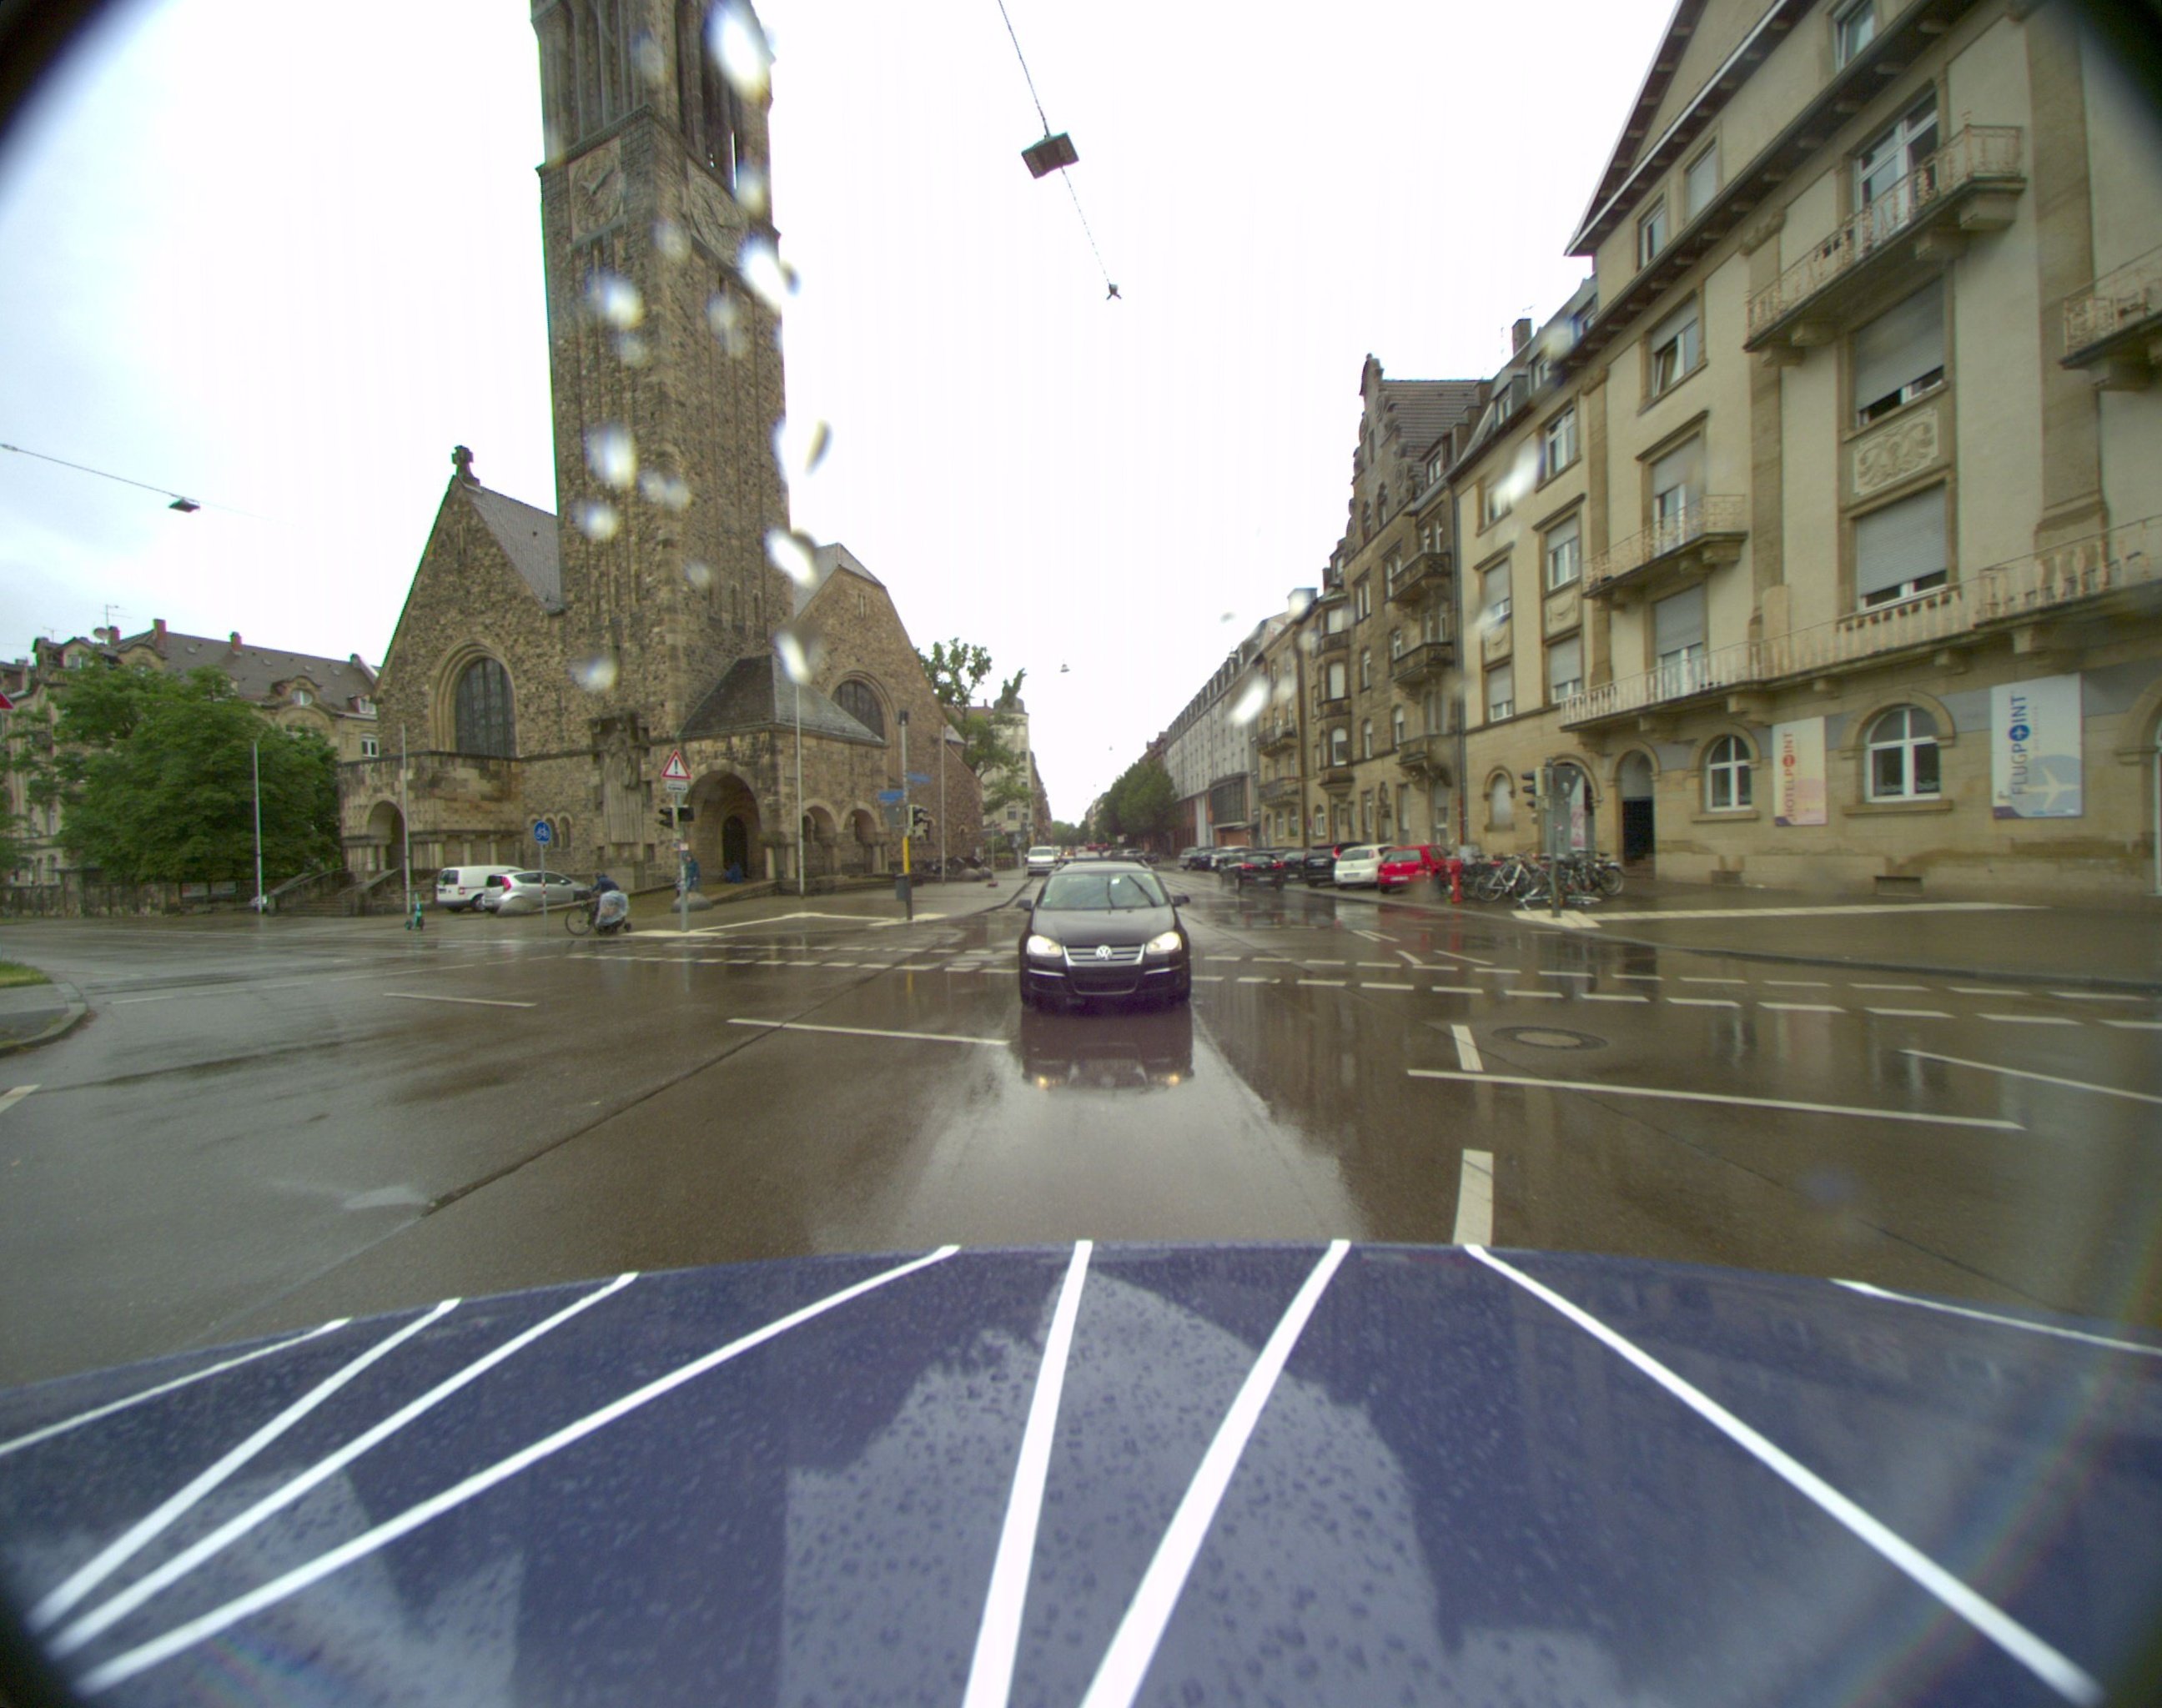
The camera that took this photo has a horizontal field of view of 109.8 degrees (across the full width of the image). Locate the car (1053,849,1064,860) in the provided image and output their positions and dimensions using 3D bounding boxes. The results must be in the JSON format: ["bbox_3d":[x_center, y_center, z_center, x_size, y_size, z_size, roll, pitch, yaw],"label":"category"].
[{"bbox_3d":[-2.855,0.059,98.344,1.356,1.285,3.012,-1,1,-1],"label":"car"}]

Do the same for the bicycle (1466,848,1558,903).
[{"bbox_3d":[10.735,0.527,18.945,1.985,1.178,0.475,-6,2,-4],"label":"bicycle"}]

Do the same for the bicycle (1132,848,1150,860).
[{"bbox_3d":[5.965,-0.017,75.607,1.688,1.067,0.544,-5,2,-4],"label":"bicycle"}]

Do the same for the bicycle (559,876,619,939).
[{"bbox_3d":[-12.665,1.345,19.608,0.533,1.458,1.938,-2,1,-10],"label":"bicycle"}]

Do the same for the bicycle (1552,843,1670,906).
[{"bbox_3d":[12.113,0.453,17.396,2.347,1.338,0.640,-2,1,-6],"label":"bicycle"}]

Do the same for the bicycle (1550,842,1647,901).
[{"bbox_3d":[12.608,0.418,18.523,2.063,1.338,0.584,-2,1,-6],"label":"bicycle"}]

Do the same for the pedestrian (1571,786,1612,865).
[{"bbox_3d":[15.474,-0.849,23.041,0.846,2.326,0.765,-1,1,21],"label":"pedestrian"}]

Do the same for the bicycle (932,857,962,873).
[{"bbox_3d":[-8.957,0.743,50.711,1.924,1.054,0.582,-1,1,21],"label":"bicycle"}]

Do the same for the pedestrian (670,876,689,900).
[{"bbox_3d":[-15.088,1.288,28.557,0.455,0.879,0.397,-2,1,19],"label":"pedestrian"}]

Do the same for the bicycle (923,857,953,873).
[{"bbox_3d":[-9.422,0.727,50.044,1.924,1.054,0.582,-1,1,21],"label":"bicycle"}]

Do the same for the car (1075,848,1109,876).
[{"bbox_3d":[0.560,0.403,41.931,1.766,1.430,3.747,-1,1,-1],"label":"car"}]

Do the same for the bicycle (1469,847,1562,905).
[{"bbox_3d":[10.597,0.525,18.543,1.981,1.322,0.438,-2,1,1],"label":"bicycle"}]

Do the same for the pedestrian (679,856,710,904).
[{"bbox_3d":[-13.994,0.927,27.485,0.632,1.693,0.679,-2,1,19],"label":"pedestrian"}]

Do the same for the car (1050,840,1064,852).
[{"bbox_3d":[-3.287,-1.130,105.704,1.922,1.471,4.219,-1,1,-1],"label":"car"}]

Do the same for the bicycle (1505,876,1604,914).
[{"bbox_3d":[10.237,0.869,16.465,1.044,0.660,1.475,-5,2,-31],"label":"bicycle"}]

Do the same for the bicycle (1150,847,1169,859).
[{"bbox_3d":[7.818,-0.131,75.637,1.688,1.067,0.544,-5,2,-4],"label":"bicycle"}]

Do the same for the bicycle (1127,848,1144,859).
[{"bbox_3d":[5.650,-0.033,79.364,1.688,1.067,0.544,-2,1,-4],"label":"bicycle"}]

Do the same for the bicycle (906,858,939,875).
[{"bbox_3d":[-10.106,0.782,48.390,2.005,1.043,0.577,-1,1,16],"label":"bicycle"}]

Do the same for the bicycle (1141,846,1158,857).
[{"bbox_3d":[6.875,-0.272,76.383,1.688,1.067,0.544,-1,1,-4],"label":"bicycle"}]

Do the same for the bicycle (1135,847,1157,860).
[{"bbox_3d":[6.388,-0.066,74.654,2.049,1.165,0.773,-5,1,-4],"label":"bicycle"}]

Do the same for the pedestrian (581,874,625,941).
[{"bbox_3d":[-12.195,1.356,19.413,0.604,1.654,0.689,-2,1,2],"label":"pedestrian"}]

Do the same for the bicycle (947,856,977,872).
[{"bbox_3d":[-8.175,0.717,52.384,1.978,1.060,0.607,-1,1,21],"label":"bicycle"}]

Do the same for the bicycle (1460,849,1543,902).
[{"bbox_3d":[10.759,0.542,19.471,1.815,1.178,0.468,-6,2,-3],"label":"bicycle"}]

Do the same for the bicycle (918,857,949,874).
[{"bbox_3d":[-9.606,0.741,49.378,1.924,1.054,0.582,-1,1,18],"label":"bicycle"}]

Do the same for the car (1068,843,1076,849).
[{"bbox_3d":[-2.506,-2.262,219.385,1.998,1.705,4.375,-1,1,3],"label":"car"}]

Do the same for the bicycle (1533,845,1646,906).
[{"bbox_3d":[12.060,0.499,18.041,2.347,1.338,0.640,-2,1,-6],"label":"bicycle"}]

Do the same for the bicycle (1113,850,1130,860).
[{"bbox_3d":[4.303,0.078,80.285,1.688,1.067,0.544,0,1,-4],"label":"bicycle"}]

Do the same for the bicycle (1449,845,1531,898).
[{"bbox_3d":[10.747,0.453,19.976,1.815,1.178,0.475,-6,2,-2],"label":"bicycle"}]

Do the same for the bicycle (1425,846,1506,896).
[{"bbox_3d":[10.603,0.460,20.985,1.814,1.178,0.600,-6,1,5],"label":"bicycle"}]

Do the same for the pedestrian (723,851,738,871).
[{"bbox_3d":[-16.010,0.315,34.714,0.396,0.879,0.457,-1,1,22],"label":"pedestrian"}]

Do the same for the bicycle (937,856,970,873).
[{"bbox_3d":[-8.632,0.721,51.384,2.151,1.054,0.679,-1,1,21],"label":"bicycle"}]
